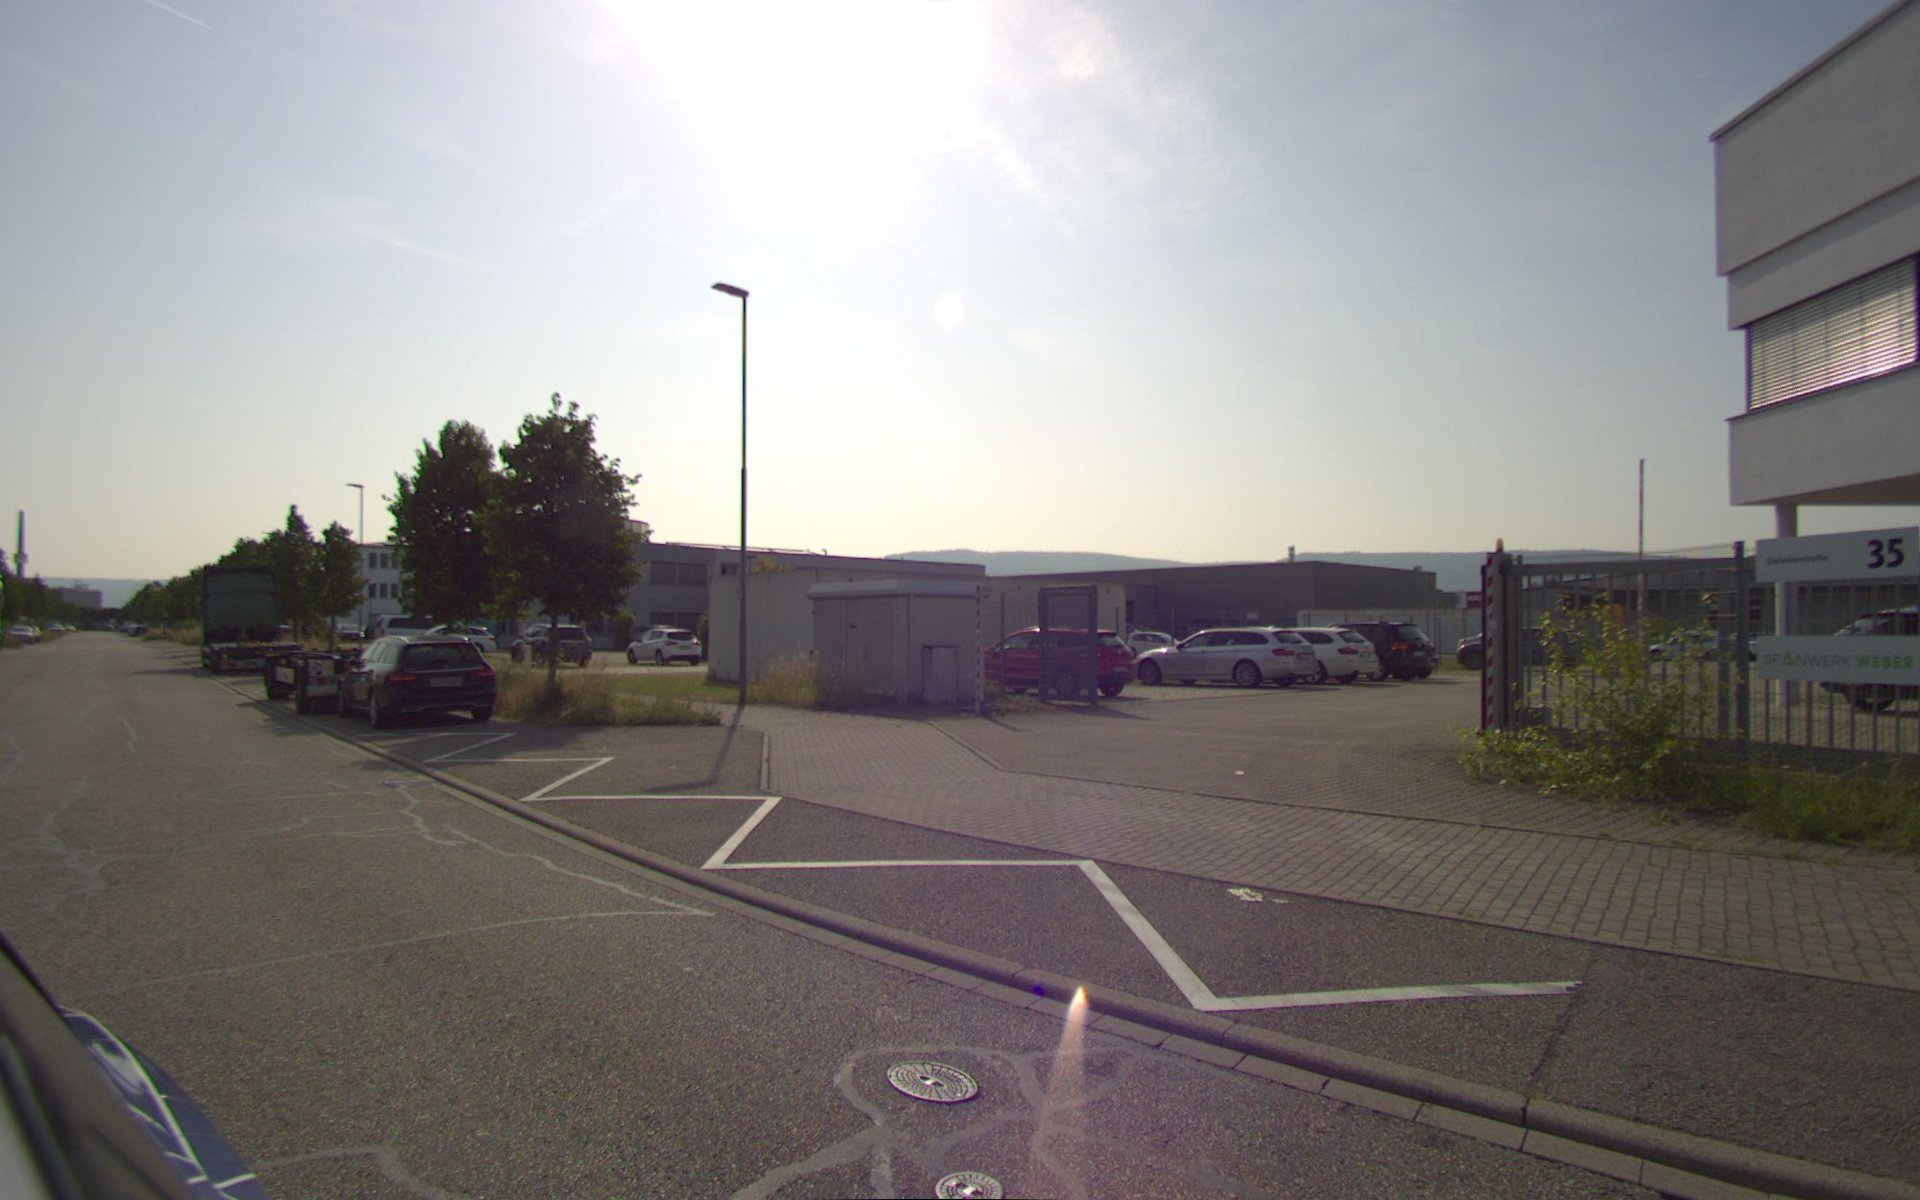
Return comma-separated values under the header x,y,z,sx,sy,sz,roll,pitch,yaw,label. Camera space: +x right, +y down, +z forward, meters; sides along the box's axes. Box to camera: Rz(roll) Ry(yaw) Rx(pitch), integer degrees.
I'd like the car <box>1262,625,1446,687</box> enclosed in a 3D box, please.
x,y,z,sx,sy,sz,roll,pitch,yaw,label
11.112,1.578,28.776,1.911,1.616,4.483,1,-3,-41,car

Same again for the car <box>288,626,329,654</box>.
x,y,z,sx,sy,sz,roll,pitch,yaw,label
-48.610,2.993,75.479,1.858,2.029,4.998,2,-3,-41,car

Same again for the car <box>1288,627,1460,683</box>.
x,y,z,sx,sy,sz,roll,pitch,yaw,label
12.639,1.679,31.137,1.911,1.616,4.483,1,-3,-41,car

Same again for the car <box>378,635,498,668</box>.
x,y,z,sx,sy,sz,roll,pitch,yaw,label
-24.421,2.373,47.440,4.670,1.442,2.002,1,-2,-43,car

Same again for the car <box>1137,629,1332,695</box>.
x,y,z,sx,sy,sz,roll,pitch,yaw,label
6.836,1.534,25.561,1.810,1.506,4.483,1,-3,-41,car

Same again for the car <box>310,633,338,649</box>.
x,y,z,sx,sy,sz,roll,pitch,yaw,label
-59.991,3.876,95.426,1.732,1.479,3.925,1,-2,-39,car

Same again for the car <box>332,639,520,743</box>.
x,y,z,sx,sy,sz,roll,pitch,yaw,label
-9.313,1.455,17.463,1.969,1.478,4.439,-1,-2,-40,car

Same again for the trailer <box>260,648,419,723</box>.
x,y,z,sx,sy,sz,roll,pitch,yaw,label
-13.524,1.708,21.788,2.102,1.242,7.171,-1,-1,-38,trailer

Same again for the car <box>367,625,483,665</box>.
x,y,z,sx,sy,sz,roll,pitch,yaw,label
-26.148,2.165,49.564,4.645,1.850,2.106,2,-3,-41,car

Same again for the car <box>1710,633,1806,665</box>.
x,y,z,sx,sy,sz,roll,pitch,yaw,label
46.216,2.804,58.689,1.841,1.782,4.009,1,-2,-37,car

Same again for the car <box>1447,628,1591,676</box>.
x,y,z,sx,sy,sz,roll,pitch,yaw,label
21.440,1.957,38.932,1.960,1.741,4.458,2,-3,-44,car

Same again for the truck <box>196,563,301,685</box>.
x,y,z,sx,sy,sz,roll,pitch,yaw,label
-26.305,0.825,37.186,2.424,3.911,9.820,-1,0,-39,truck

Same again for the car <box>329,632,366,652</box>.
x,y,z,sx,sy,sz,roll,pitch,yaw,label
-51.824,3.533,85.560,1.918,1.619,4.515,1,-3,-41,car

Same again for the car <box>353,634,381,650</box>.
x,y,z,sx,sy,sz,roll,pitch,yaw,label
-57.182,4.015,97.570,1.732,1.479,3.925,1,-2,-39,car

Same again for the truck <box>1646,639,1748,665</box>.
x,y,z,sx,sy,sz,roll,pitch,yaw,label
39.162,2.747,53.833,1.841,1.320,4.009,1,-2,-37,truck

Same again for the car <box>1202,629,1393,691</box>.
x,y,z,sx,sy,sz,roll,pitch,yaw,label
8.914,1.583,27.049,1.911,1.506,4.483,1,-3,-41,car

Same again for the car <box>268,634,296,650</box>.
x,y,z,sx,sy,sz,roll,pitch,yaw,label
-62.514,3.854,93.332,1.732,1.420,3.925,1,-2,-39,car

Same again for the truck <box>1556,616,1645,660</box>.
x,y,z,sx,sy,sz,roll,pitch,yaw,label
38.016,2.262,60.154,1.967,2.533,4.009,2,-2,-35,truck

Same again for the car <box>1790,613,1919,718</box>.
x,y,z,sx,sy,sz,roll,pitch,yaw,label
15.427,0.960,15.356,3.949,1.499,1.866,0,-2,5,car

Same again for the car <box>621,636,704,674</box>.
x,y,z,sx,sy,sz,roll,pitch,yaw,label
-12.650,2.294,42.872,1.684,1.527,4.218,3,-3,-42,car

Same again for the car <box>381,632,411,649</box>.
x,y,z,sx,sy,sz,roll,pitch,yaw,label
-55.311,3.986,99.256,1.881,1.631,3.925,1,-2,-39,car

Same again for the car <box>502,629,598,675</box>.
x,y,z,sx,sy,sz,roll,pitch,yaw,label
-16.077,1.996,39.540,1.969,1.699,4.705,2,-3,-42,car

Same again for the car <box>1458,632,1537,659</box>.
x,y,z,sx,sy,sz,roll,pitch,yaw,label
33.914,2.850,63.918,1.842,1.655,4.008,1,-2,-38,car

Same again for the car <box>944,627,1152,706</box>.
x,y,z,sx,sy,sz,roll,pitch,yaw,label
1.796,1.405,21.757,4.305,1.537,1.750,-3,-4,44,car

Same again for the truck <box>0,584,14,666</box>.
x,y,z,sx,sy,sz,roll,pitch,yaw,label
-50.926,1.288,52.072,2.712,4.046,9.699,4,-4,-41,truck

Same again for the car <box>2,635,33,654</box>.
x,y,z,sx,sy,sz,roll,pitch,yaw,label
-78.416,3.724,84.216,1.643,1.515,3.546,4,-4,-41,car
